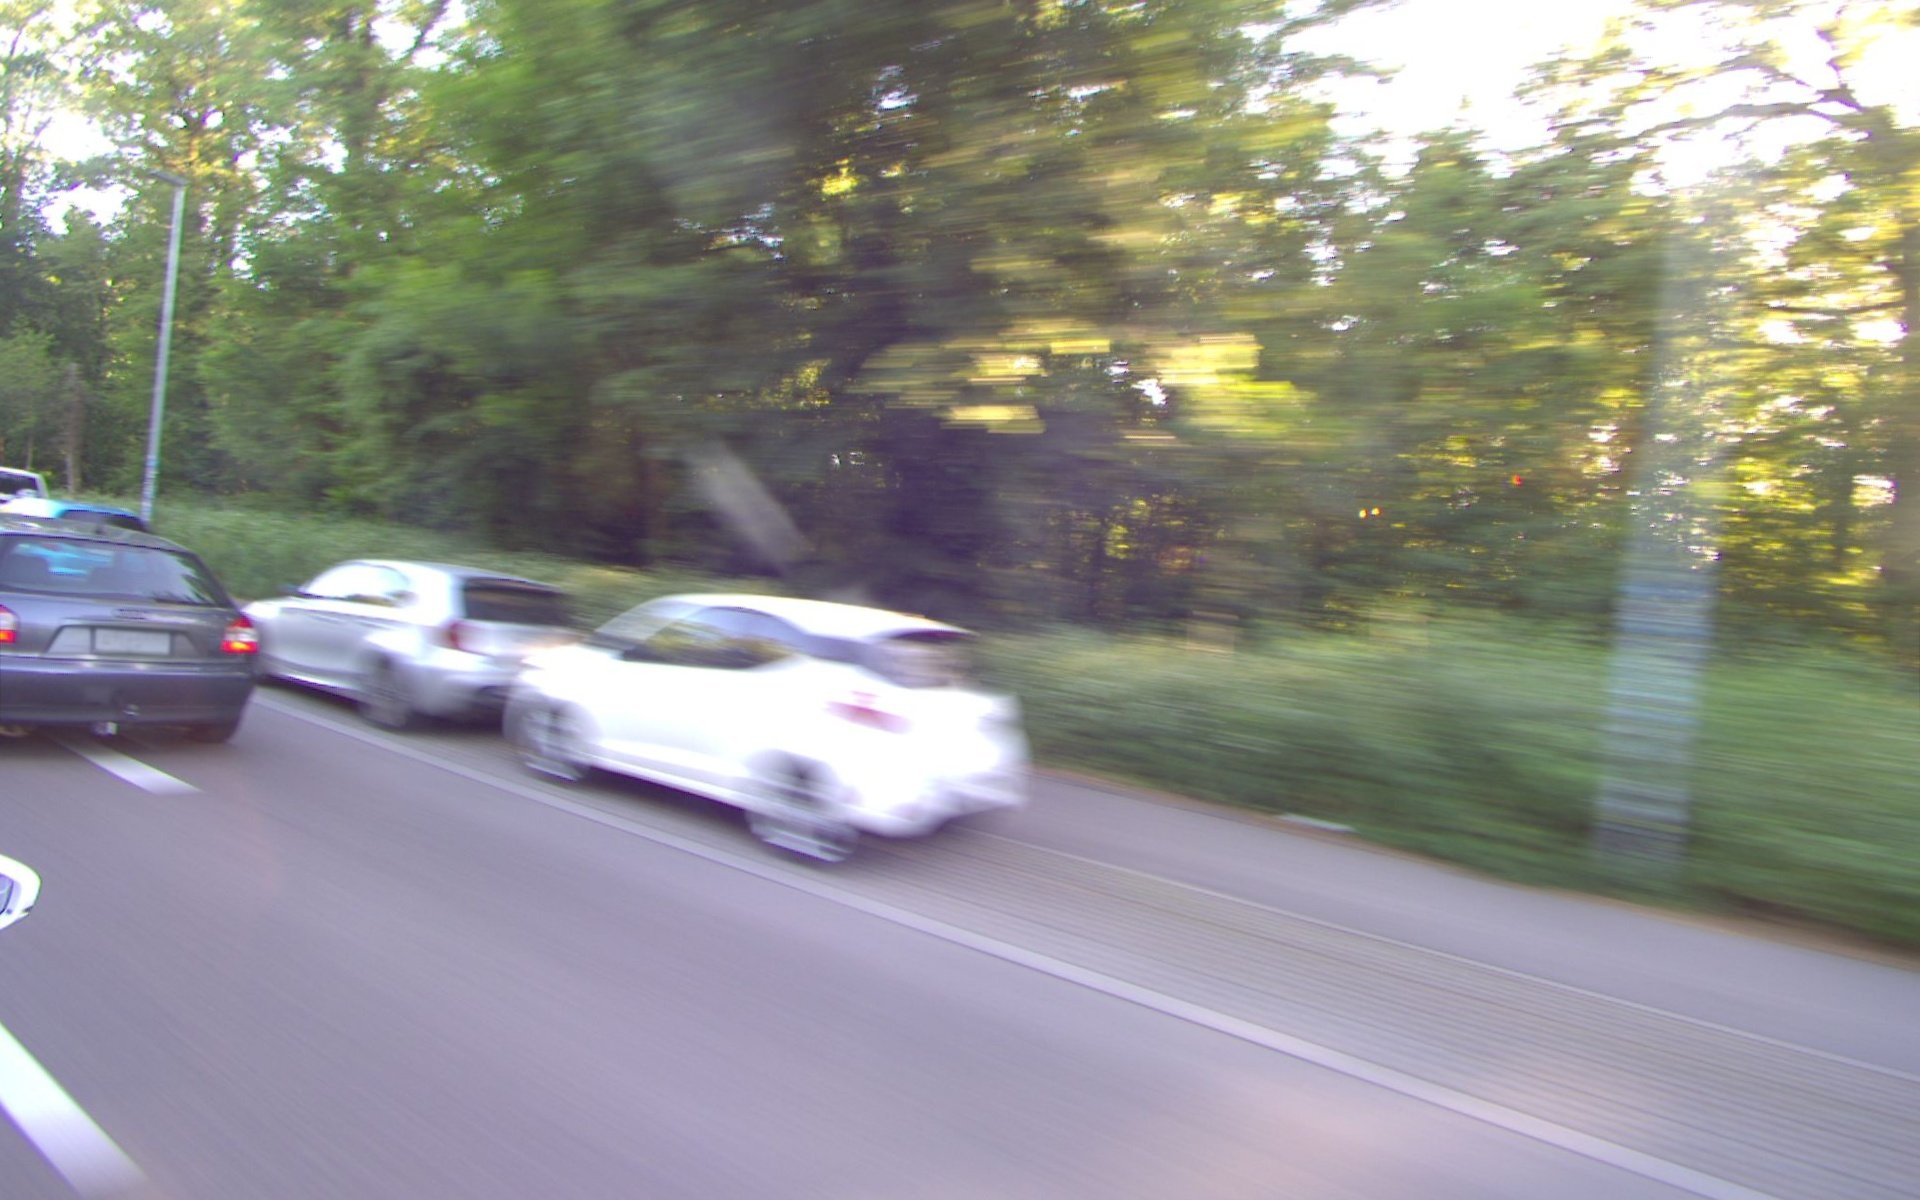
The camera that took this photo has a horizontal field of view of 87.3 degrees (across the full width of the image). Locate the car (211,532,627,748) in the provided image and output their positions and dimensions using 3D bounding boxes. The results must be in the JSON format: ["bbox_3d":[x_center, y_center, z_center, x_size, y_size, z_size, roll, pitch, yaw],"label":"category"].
[{"bbox_3d":[-5.274,0.296,9.654,4.023,1.427,1.729,7,1,33],"label":"car"}]

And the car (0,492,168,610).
[{"bbox_3d":[-14.737,-0.865,16.357,3.803,1.541,1.650,7,0,32],"label":"car"}]

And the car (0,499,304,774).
[{"bbox_3d":[-6.599,0.066,7.067,4.022,1.459,1.730,7,0,32],"label":"car"}]

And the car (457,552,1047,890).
[{"bbox_3d":[-1.620,0.673,7.282,4.023,1.541,1.729,7,0,33],"label":"car"}]

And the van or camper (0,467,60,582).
[{"bbox_3d":[-19.662,-1.685,19.517,5.254,1.994,1.834,7,-1,33],"label":"van or camper"}]
